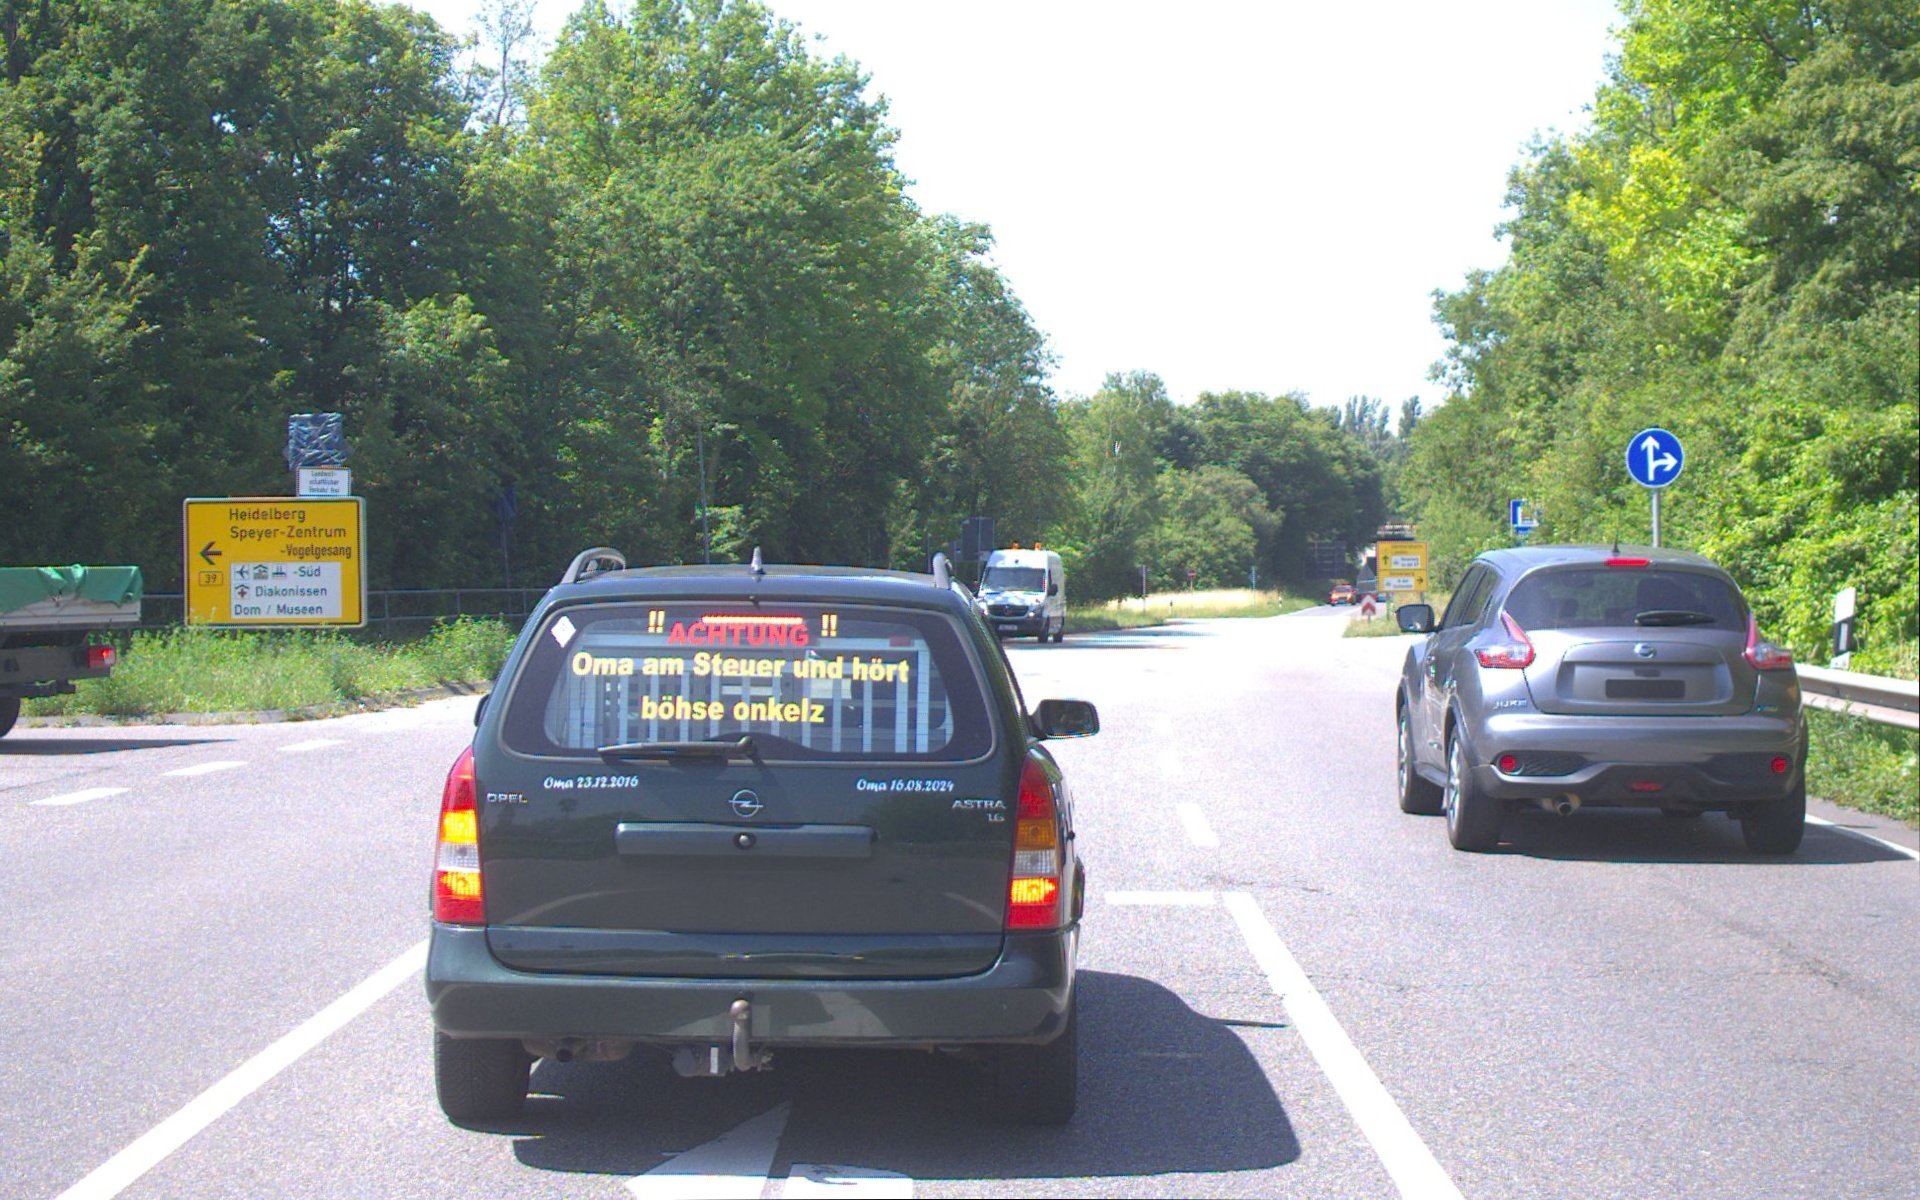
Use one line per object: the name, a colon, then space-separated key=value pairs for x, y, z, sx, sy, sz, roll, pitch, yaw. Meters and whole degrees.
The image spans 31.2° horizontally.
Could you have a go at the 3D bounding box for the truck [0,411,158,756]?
truck: x=-9.805 y=-0.110 z=27.522 sx=6.625 sy=2.556 sz=2.143 roll=0 pitch=0 yaw=24

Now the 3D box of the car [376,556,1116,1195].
car: x=-0.496 y=0.620 z=9.937 sx=1.720 sy=1.452 sz=3.798 roll=0 pitch=1 yaw=0

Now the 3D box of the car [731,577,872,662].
car: x=-3.230 y=0.383 z=70.703 sx=1.673 sy=1.656 sz=3.997 roll=0 pitch=1 yaw=16

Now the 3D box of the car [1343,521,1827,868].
car: x=3.246 y=0.417 z=18.633 sx=1.843 sy=1.679 sz=4.000 roll=0 pitch=1 yaw=-1

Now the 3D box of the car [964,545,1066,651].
car: x=1.558 y=-0.079 z=95.253 sx=2.106 sy=2.840 sz=6.010 roll=1 pitch=0 yaw=8

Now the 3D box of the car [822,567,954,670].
car: x=-0.998 y=0.239 z=49.462 sx=1.644 sy=1.414 sz=3.766 roll=1 pitch=0 yaw=3

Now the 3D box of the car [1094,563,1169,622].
car: x=9.424 y=-0.431 z=189.494 sx=1.993 sy=3.215 sz=4.809 roll=-1 pitch=1 yaw=-27
